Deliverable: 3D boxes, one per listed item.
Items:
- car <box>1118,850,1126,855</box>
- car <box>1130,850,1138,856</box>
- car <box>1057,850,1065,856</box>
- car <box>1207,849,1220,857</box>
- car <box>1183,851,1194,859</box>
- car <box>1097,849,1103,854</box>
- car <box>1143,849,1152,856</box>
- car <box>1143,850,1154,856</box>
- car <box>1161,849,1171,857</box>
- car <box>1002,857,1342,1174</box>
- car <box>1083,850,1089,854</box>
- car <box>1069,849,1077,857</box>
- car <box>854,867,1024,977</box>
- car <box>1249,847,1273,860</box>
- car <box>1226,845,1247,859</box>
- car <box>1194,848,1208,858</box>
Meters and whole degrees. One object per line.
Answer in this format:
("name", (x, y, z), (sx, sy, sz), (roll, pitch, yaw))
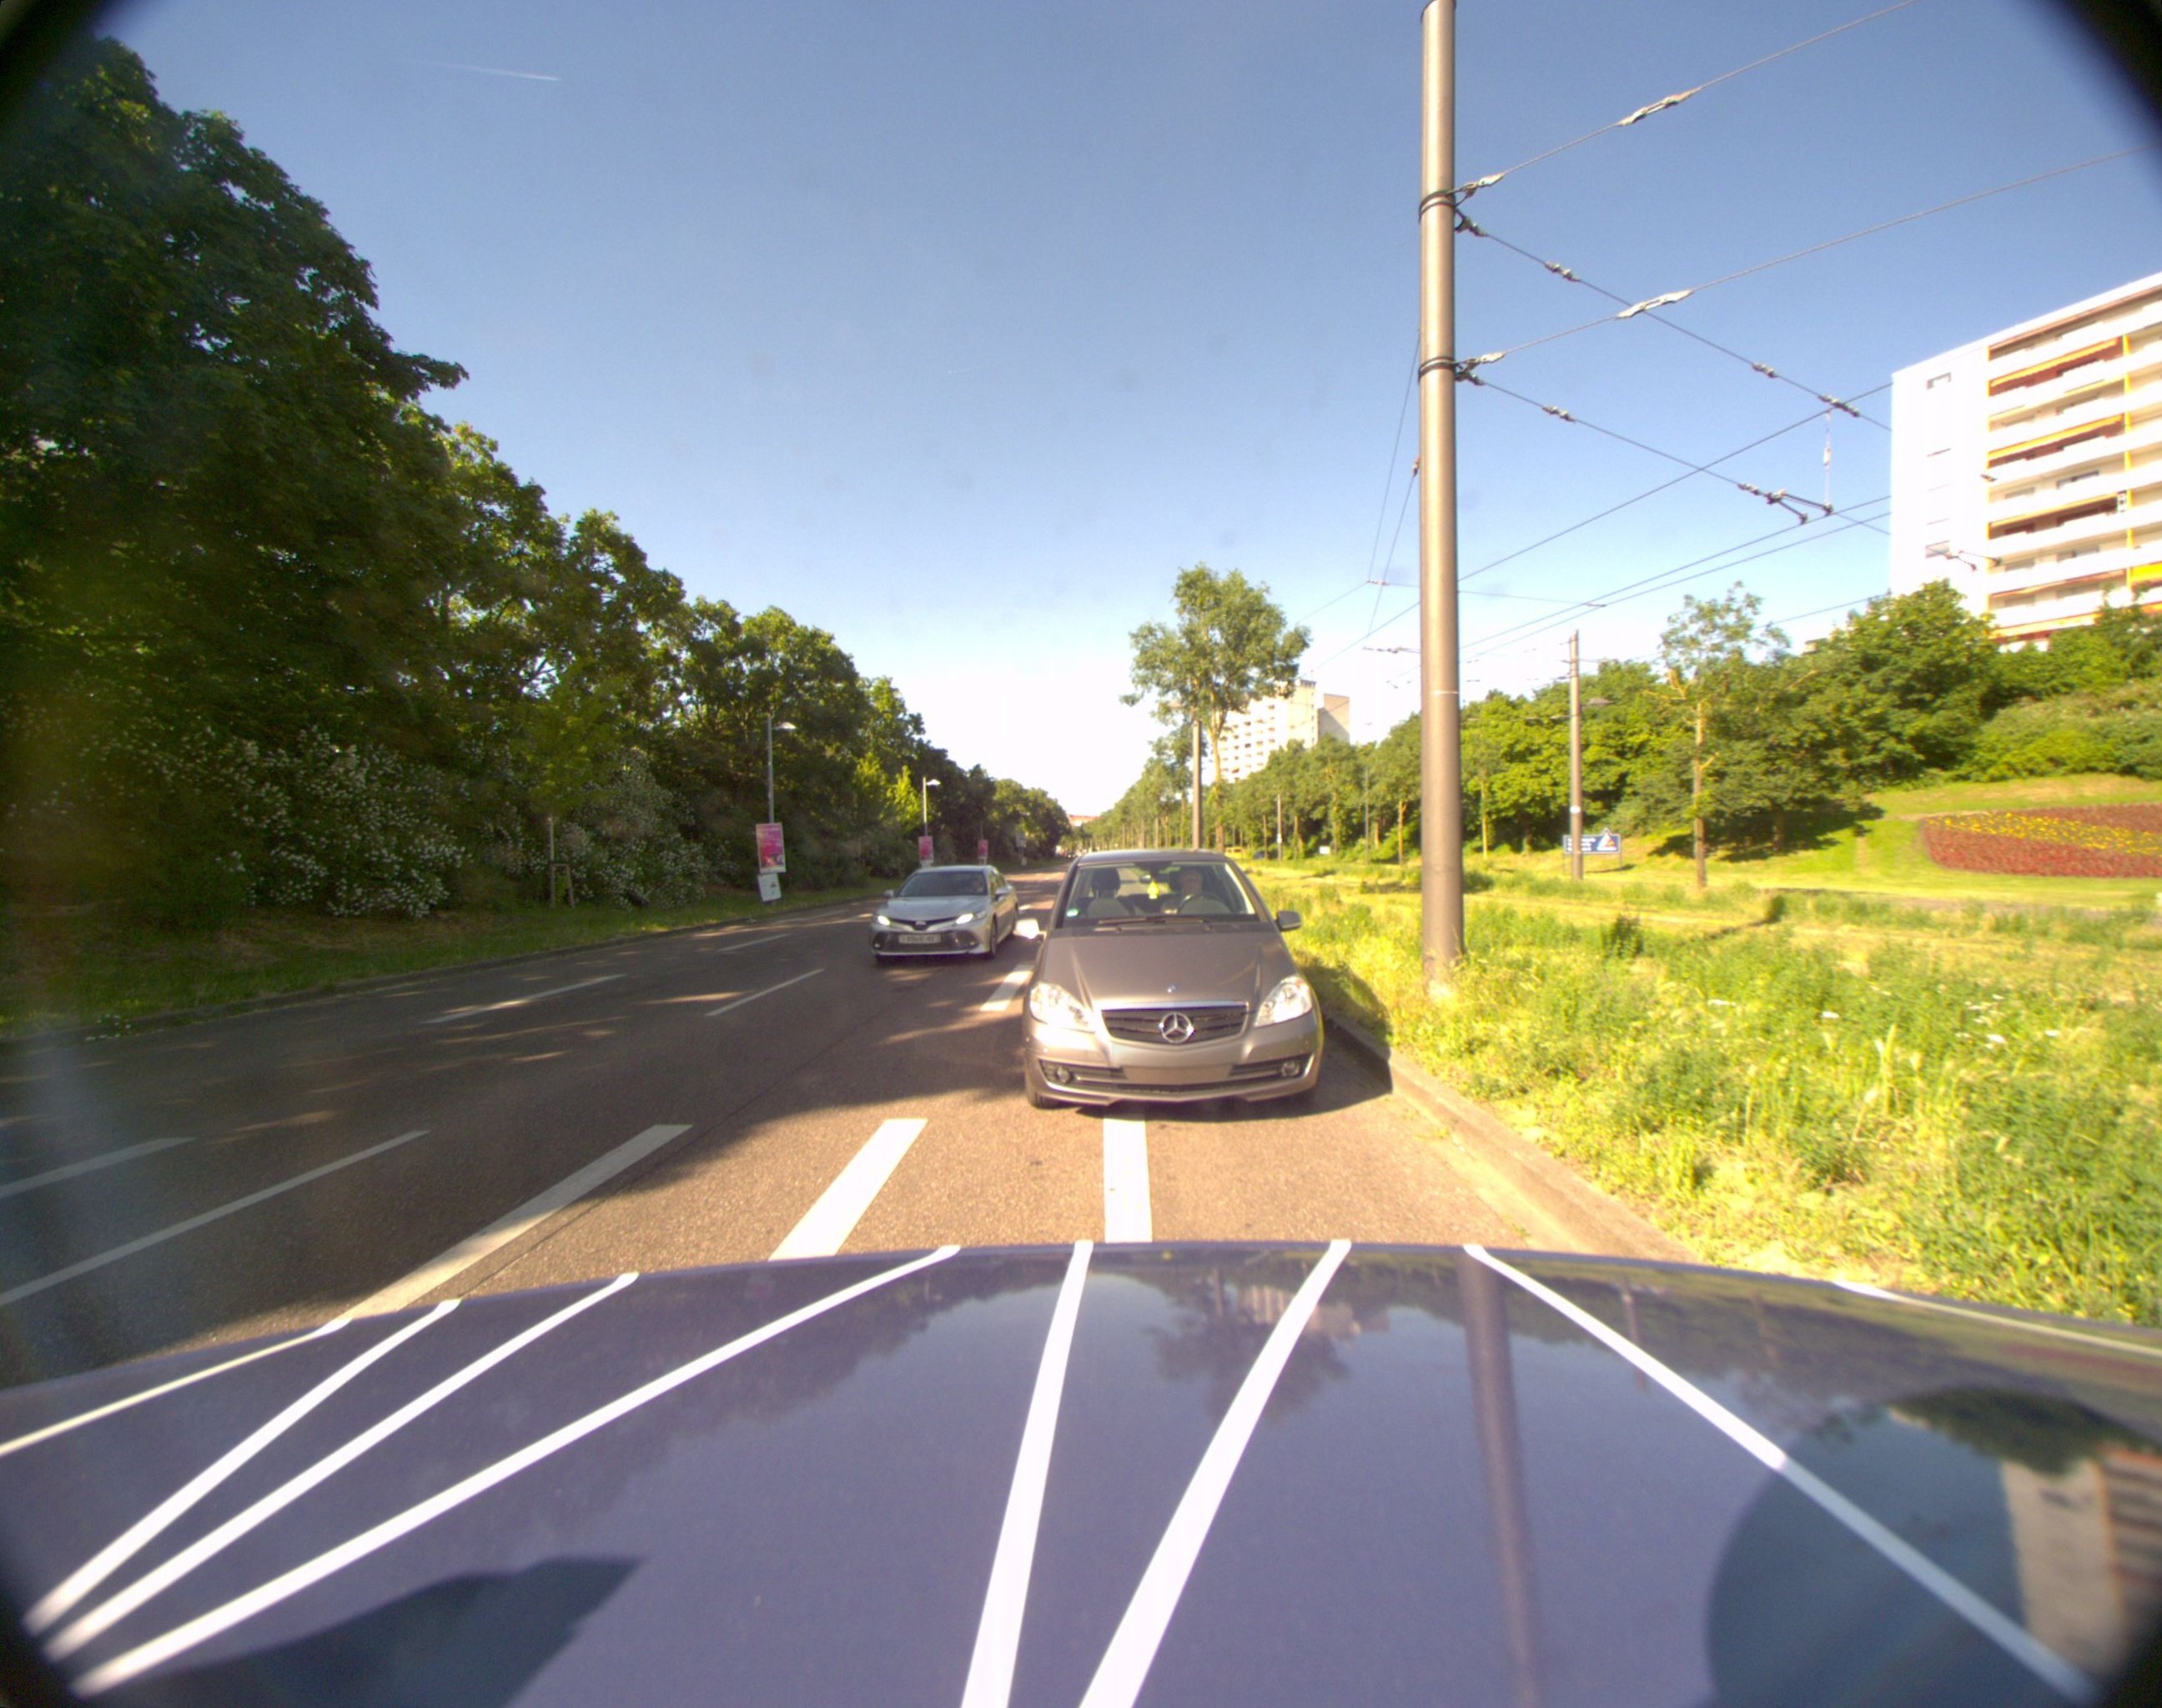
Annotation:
("car", (11.918, -0.347, 221.765), (1.803, 1.455, 3.998), (-1, 0, -4))
("car", (13.422, -0.277, 192.654), (1.793, 1.499, 4.239), (-1, 0, -2))
("car", (-5.652, -0.408, 217.089), (1.998, 1.702, 4.000), (-1, 0, 1))
("car", (22.099, -0.176, 126.855), (1.780, 1.368, 4.001), (-1, 0, 3))
("car", (20.812, 0.133, 146.885), (1.792, 1.499, 4.241), (-1, 0, 3))
("car", (6.381, -0.888, 252.852), (1.803, 1.455, 3.998), (0, 1, -4))
("car", (16.738, -0.370, 190.446), (1.793, 1.499, 4.239), (-1, 0, -2))
("car", (15.691, -0.295, 177.159), (1.800, 1.408, 4.308), (-1, 0, -5))
("car", (17.056, -0.204, 152.921), (1.799, 1.408, 4.311), (-1, 0, 3))
("car", (0.503, 0.856, 5.924), (1.759, 1.612, 3.880), (-1, 0, 1))
("car", (1.705, -0.782, 258.592), (1.803, 1.455, 3.997), (0, 1, -8))
("car", (-1.971, -0.249, 186.699), (1.998, 1.702, 4.000), (-1, 0, 1))
("car", (-2.174, 0.995, 12.967), (1.875, 1.428, 4.594), (-1, 0, 2))
("car", (22.363, -0.089, 94.520), (1.998, 1.565, 4.106), (-1, 0, 1))
("car", (22.431, -0.307, 109.673), (1.998, 1.955, 4.907), (-1, 0, 1))
("car", (19.006, -0.172, 120.163), (1.693, 1.399, 4.022), (-1, 0, 1))
